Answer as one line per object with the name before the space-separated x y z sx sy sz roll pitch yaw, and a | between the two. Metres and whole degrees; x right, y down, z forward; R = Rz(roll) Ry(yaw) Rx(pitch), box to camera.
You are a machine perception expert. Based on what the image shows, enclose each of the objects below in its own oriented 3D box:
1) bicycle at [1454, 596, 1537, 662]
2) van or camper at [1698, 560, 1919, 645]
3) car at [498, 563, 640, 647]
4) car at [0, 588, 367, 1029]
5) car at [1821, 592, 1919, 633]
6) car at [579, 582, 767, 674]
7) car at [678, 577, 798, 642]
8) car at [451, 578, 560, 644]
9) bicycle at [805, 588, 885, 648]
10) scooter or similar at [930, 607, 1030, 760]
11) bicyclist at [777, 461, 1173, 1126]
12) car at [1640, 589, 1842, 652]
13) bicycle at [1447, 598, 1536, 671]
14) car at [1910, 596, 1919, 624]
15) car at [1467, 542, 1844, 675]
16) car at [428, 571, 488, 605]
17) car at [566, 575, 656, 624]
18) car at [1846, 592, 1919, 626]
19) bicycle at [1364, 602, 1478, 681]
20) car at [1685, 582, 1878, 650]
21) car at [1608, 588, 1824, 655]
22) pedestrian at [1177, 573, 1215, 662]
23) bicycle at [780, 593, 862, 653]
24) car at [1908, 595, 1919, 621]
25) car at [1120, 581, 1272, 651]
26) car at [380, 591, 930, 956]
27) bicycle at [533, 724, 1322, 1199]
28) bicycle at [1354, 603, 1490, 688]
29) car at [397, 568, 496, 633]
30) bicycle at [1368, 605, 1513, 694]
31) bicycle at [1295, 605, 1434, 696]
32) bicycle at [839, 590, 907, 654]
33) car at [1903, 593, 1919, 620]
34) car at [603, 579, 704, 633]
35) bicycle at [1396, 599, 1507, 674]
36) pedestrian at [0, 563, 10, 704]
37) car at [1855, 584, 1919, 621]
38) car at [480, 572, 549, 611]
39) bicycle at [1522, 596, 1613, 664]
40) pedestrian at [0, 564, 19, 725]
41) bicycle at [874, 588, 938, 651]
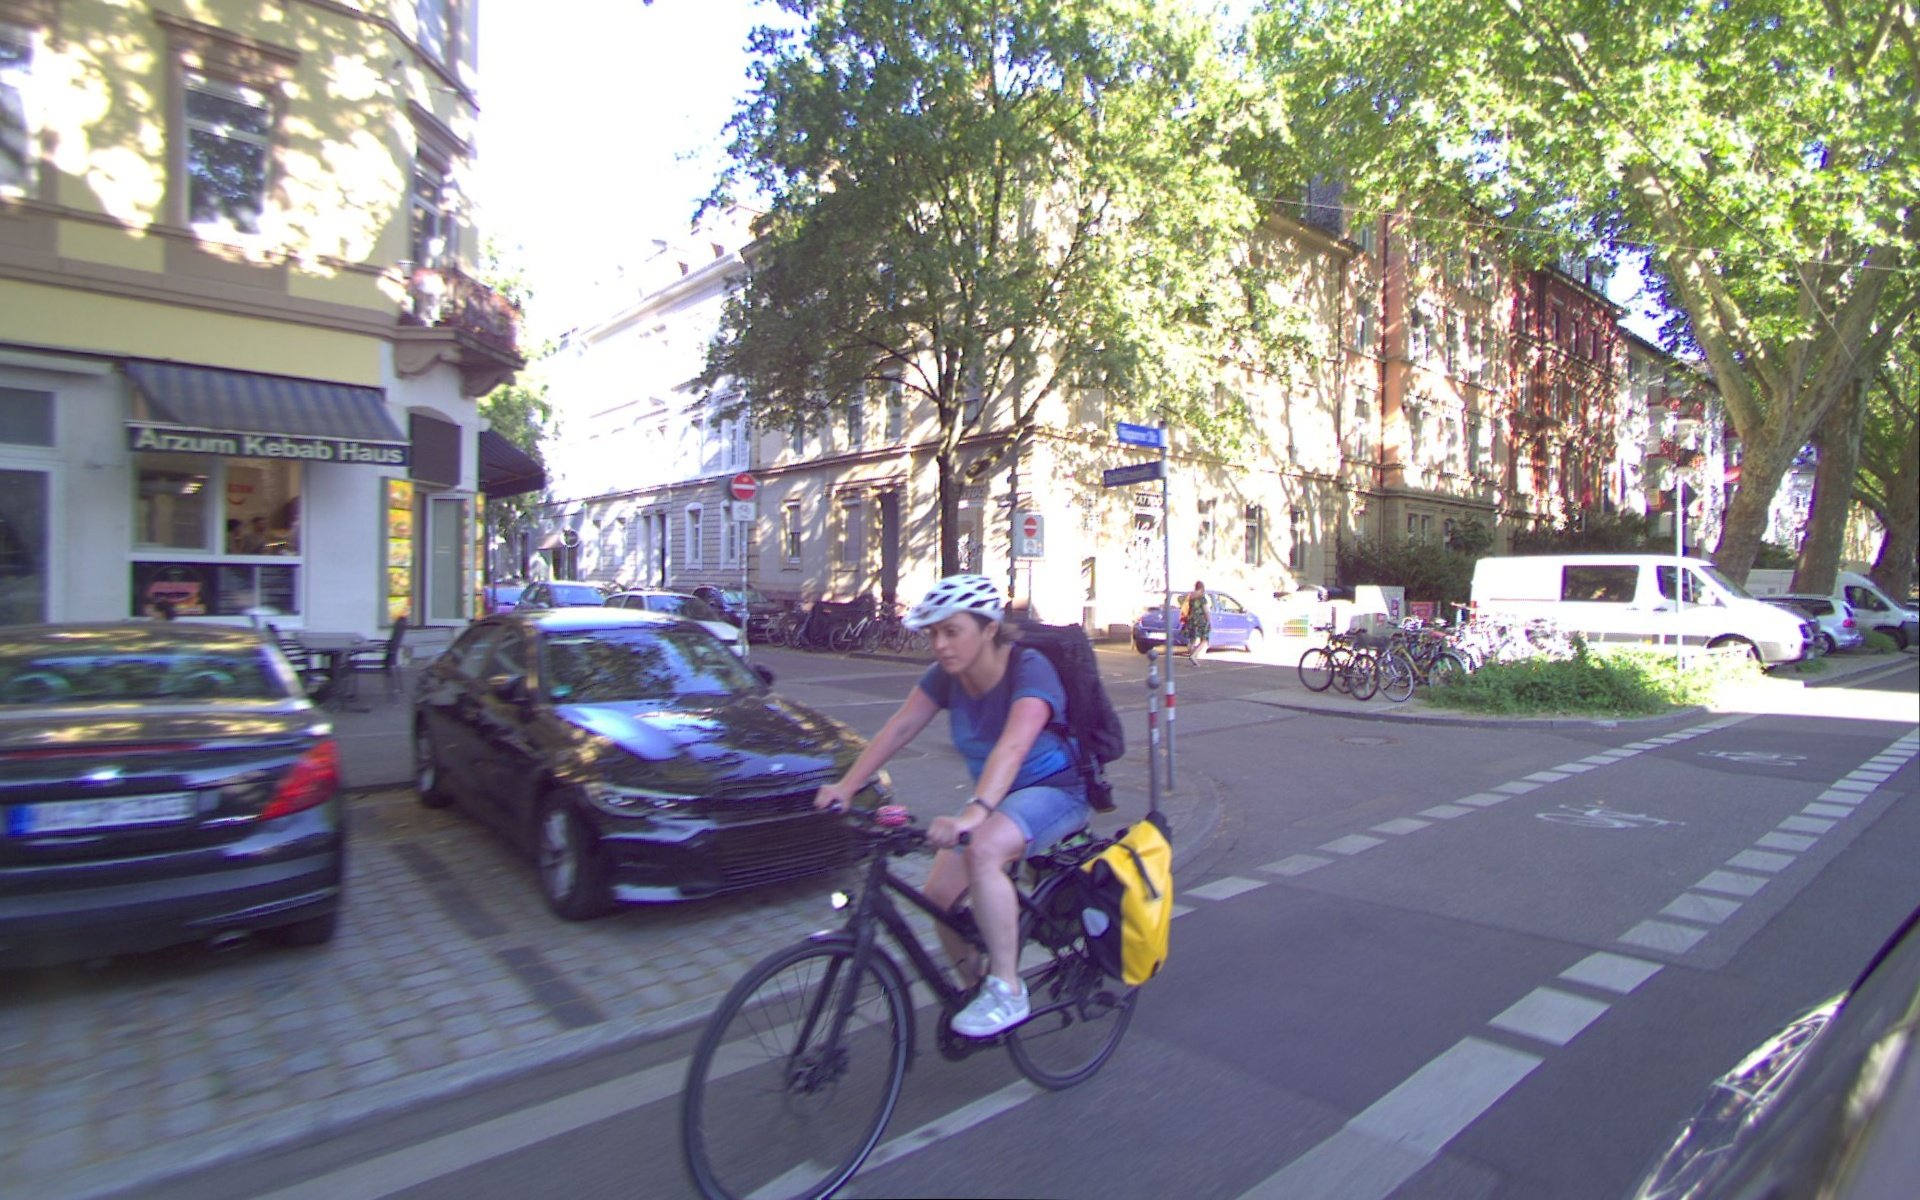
bicycle | 10.373 0.530 19.679 0.405 1.193 2.050 0 1 -3
van or camper | 27.688 0.003 32.562 2.070 2.522 6.044 0 2 -41
car | -8.422 0.097 21.621 1.662 1.637 3.683 3 -1 -41
car | -4.334 0.719 5.418 1.649 1.510 4.109 0 1 -35
car | 36.771 0.486 40.007 1.659 1.498 3.962 0 2 -40
car | -5.142 0.440 17.886 1.663 1.429 3.680 3 -1 -44
car | -6.272 0.196 28.334 1.819 1.617 4.000 -3 3 -36
car | -11.359 0.250 25.211 1.624 1.509 3.416 3 -1 -39
bicycle | -2.789 0.421 24.739 1.974 1.333 0.522 -3 1 -41
scooter or similar | 0.157 0.715 9.305 0.334 1.271 1.313 0 1 -27
bicyclist | 0.048 0.465 2.949 0.919 1.573 0.615 0 -4 -40
car | 20.650 0.480 26.875 1.764 1.497 3.963 0 1 -40
bicycle | 9.551 0.588 18.270 0.405 1.193 2.050 0 1 -3
car | 52.625 0.594 53.189 3.826 1.462 1.673 3 0 43
car | 13.848 0.086 20.612 1.969 2.311 6.007 1 1 -38
car | -24.336 -0.611 49.015 1.820 1.549 3.868 -3 3 -37
car | -12.439 -0.070 35.922 1.820 1.549 3.998 -3 3 -37
car | 43.876 0.429 47.248 1.632 1.514 3.614 0 1 -42
bicycle | 7.580 0.647 16.756 0.404 1.193 2.053 -1 1 -19
car | 22.820 0.377 28.205 1.766 1.676 3.959 -1 2 -43
car | 18.797 0.474 25.294 1.765 1.478 4.060 0 2 -42
pedestrian | 4.526 0.315 19.399 0.587 1.672 0.703 0 1 24
bicycle | -3.183 0.498 23.329 0.506 1.301 2.013 1 1 44
car | 59.937 0.495 61.281 1.649 1.550 3.568 0 1 -42
car | 5.400 0.327 22.956 3.511 1.474 1.733 0 0 -44
car | -2.199 0.727 6.474 1.800 1.510 4.102 0 1 -42
bicycle | 0.123 0.996 2.963 2.467 1.017 0.596 0 -2 -41
bicycle | 7.151 0.670 15.774 0.405 1.193 2.050 -1 1 -31
car | -14.523 -0.012 28.543 1.624 1.679 4.141 3 -1 -39
bicycle | 7.070 0.692 15.008 0.405 1.193 2.050 -1 1 -31
bicycle | 5.849 0.698 14.757 0.405 1.193 2.050 -1 1 -31
bicycle | -1.925 0.470 22.758 0.503 1.301 1.888 0 3 30
car | 54.430 0.420 55.185 1.877 1.500 4.206 0 2 -39
car | -9.678 0.129 31.768 1.819 1.485 4.000 -3 3 -36
bicycle | 8.546 0.599 17.703 0.404 1.193 2.053 -1 1 -19
pedestrian | -9.495 0.317 9.514 0.673 1.345 0.487 1 0 -3
car | 45.882 0.117 48.697 1.773 1.767 4.002 0 1 -40
car | -19.491 -0.421 44.216 1.820 1.549 3.998 -3 3 -37
bicycle | 11.668 0.543 19.506 0.405 1.193 2.050 0 1 -3
pedestrian | -8.825 0.383 8.657 1.034 1.392 0.487 0 0 -10
bicycle | -1.188 0.410 22.752 0.503 1.271 1.890 0 3 28
